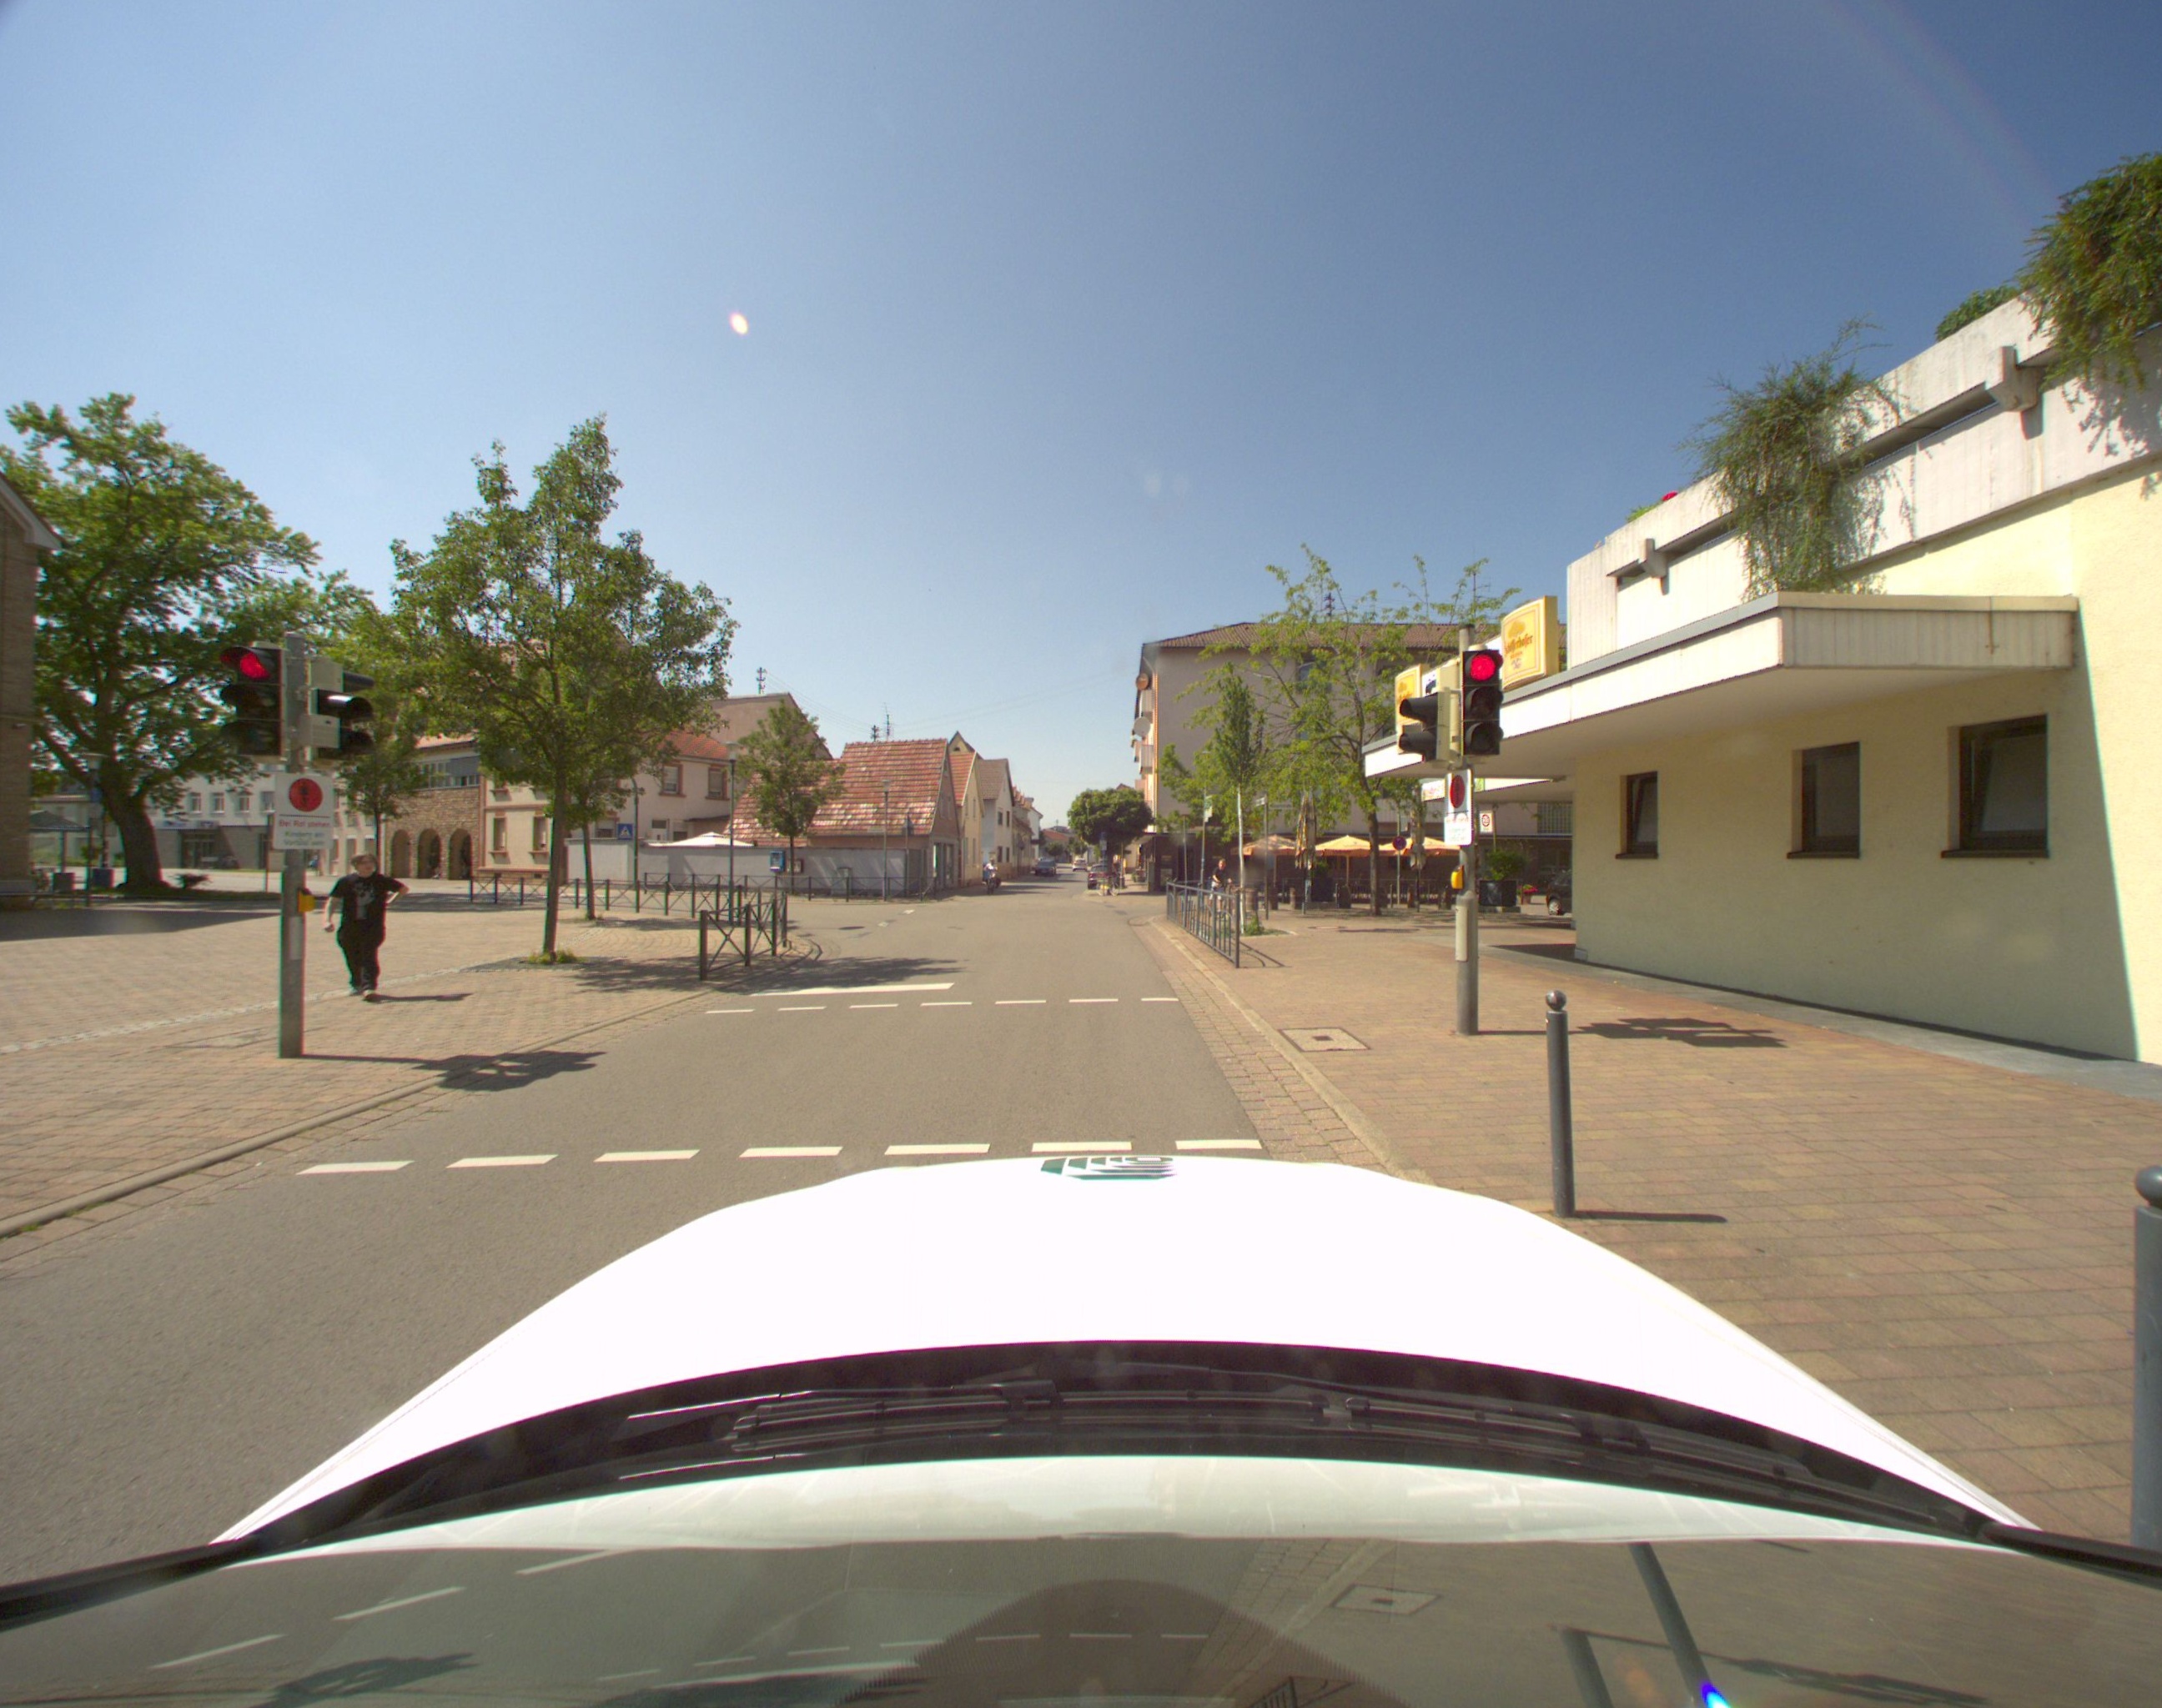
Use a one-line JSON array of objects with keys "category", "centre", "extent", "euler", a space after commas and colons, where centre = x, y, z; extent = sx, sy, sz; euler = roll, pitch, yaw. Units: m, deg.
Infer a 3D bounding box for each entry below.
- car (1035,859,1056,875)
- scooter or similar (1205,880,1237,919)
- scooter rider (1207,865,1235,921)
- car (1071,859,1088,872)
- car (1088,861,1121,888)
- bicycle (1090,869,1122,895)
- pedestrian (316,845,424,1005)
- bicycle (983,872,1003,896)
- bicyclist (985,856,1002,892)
[{"category": "car", "centre": [-3.380, 1.273, 78.451], "extent": [1.707, 1.517, 3.789], "euler": [0, -1, 3]}, {"category": "scooter or similar", "centre": [3.280, 1.066, 19.114], "extent": [0.380, 0.873, 0.885], "euler": [0, -1, -18]}, {"category": "scooter rider", "centre": [3.282, 0.908, 19.147], "extent": [0.517, 1.286, 0.415], "euler": [0, -1, -19]}, {"category": "car", "centre": [-0.165, 1.401, 100.803], "extent": [1.827, 1.652, 4.002], "euler": [0, -1, 2]}, {"category": "car", "centre": [1.402, 1.149, 47.505], "extent": [1.797, 1.501, 4.003], "euler": [0, 0, 3]}, {"category": "bicycle", "centre": [1.201, 1.301, 38.767], "extent": [0.530, 1.193, 1.655], "euler": [1, -1, -42]}, {"category": "pedestrian", "centre": [-7.820, 0.744, 9.001], "extent": [0.818, 1.655, 0.841], "euler": [2, -2, -40]}, {"category": "bicycle", "centre": [-4.147, 1.407, 38.671], "extent": [0.671, 1.094, 1.896], "euler": [-1, -1, 2]}, {"category": "bicyclist", "centre": [-4.150, 0.949, 38.575], "extent": [0.666, 1.691, 0.762], "euler": [-1, -1, 1]}]
